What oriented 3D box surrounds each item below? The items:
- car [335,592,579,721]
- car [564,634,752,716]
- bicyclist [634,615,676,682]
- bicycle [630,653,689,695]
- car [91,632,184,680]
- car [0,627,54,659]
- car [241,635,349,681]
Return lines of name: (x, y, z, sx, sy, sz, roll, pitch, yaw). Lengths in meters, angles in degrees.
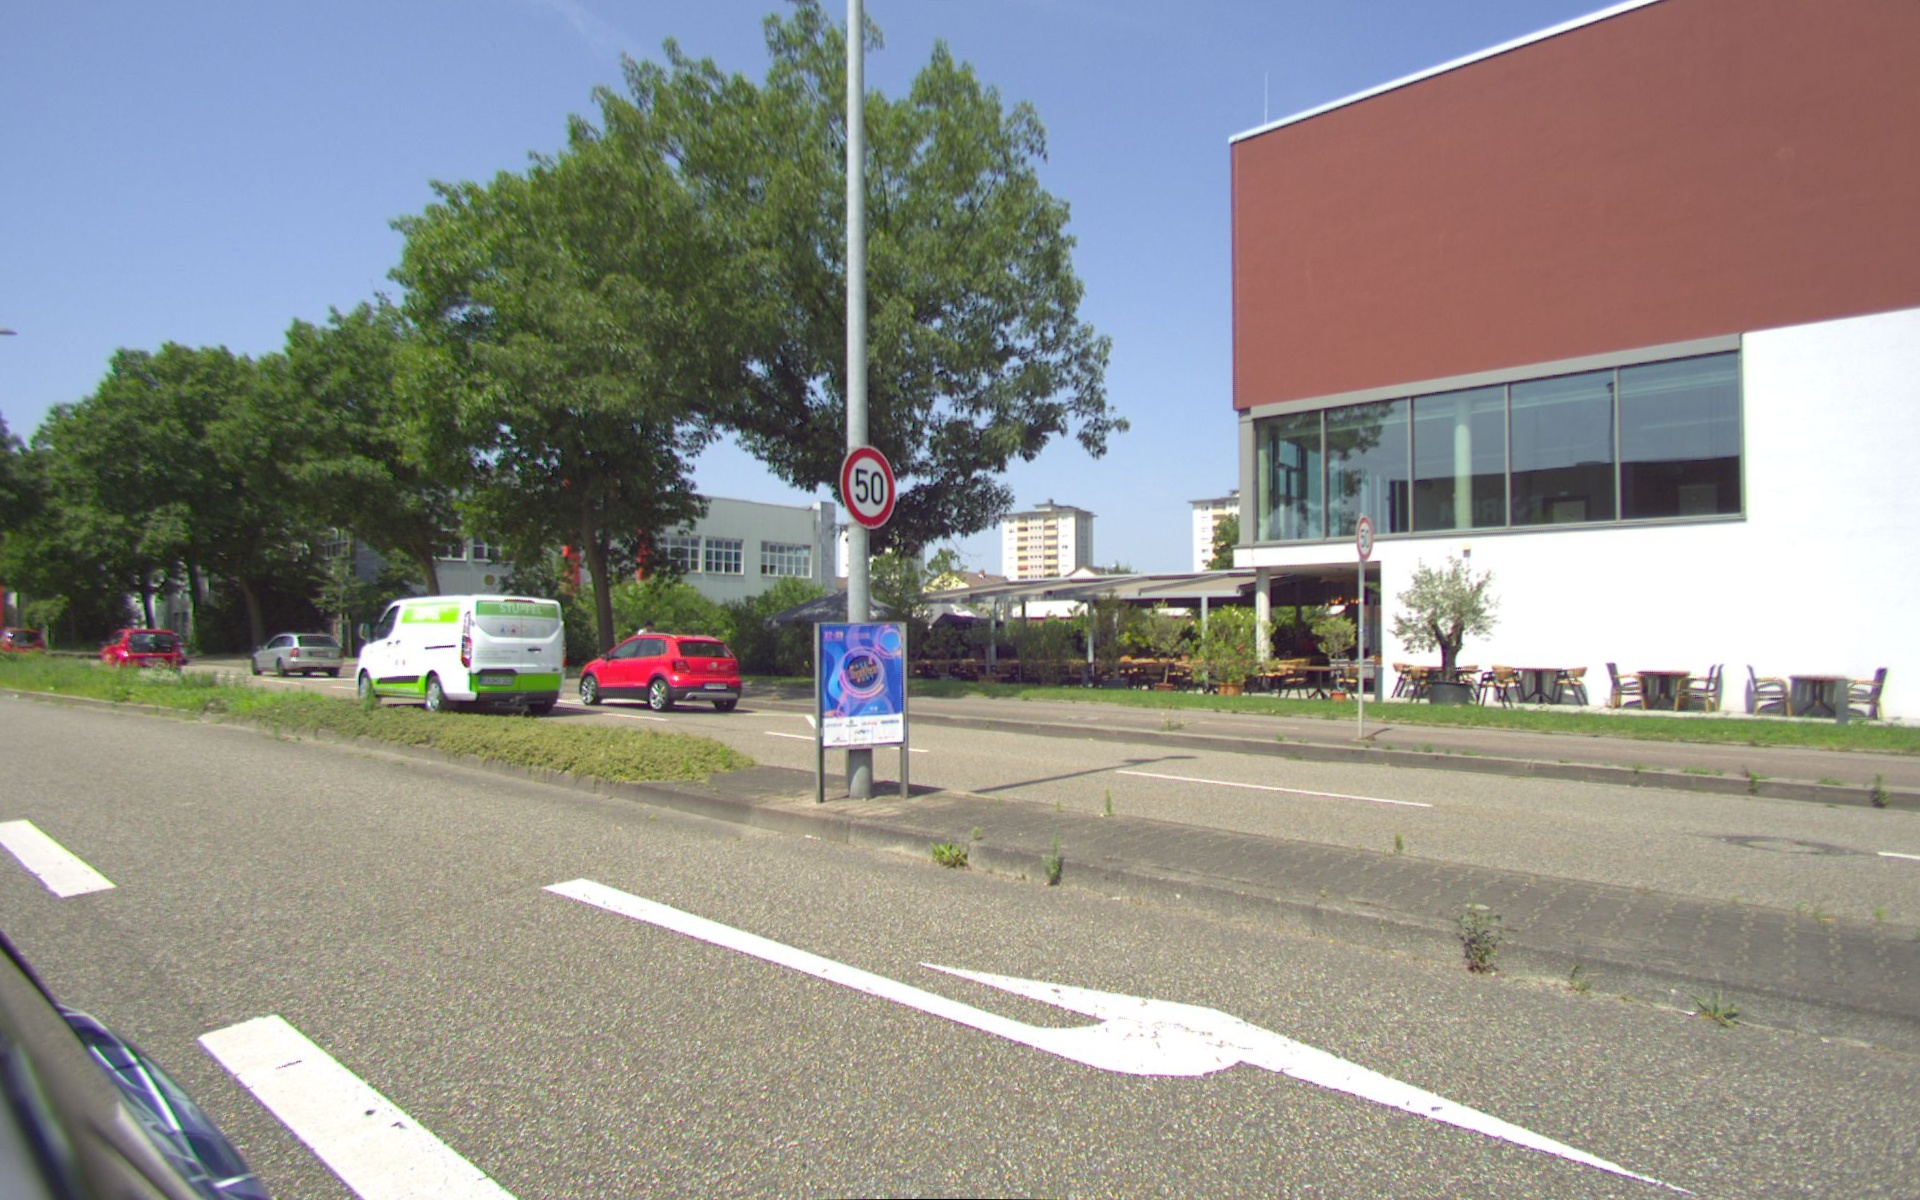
car: (-8.928, 0.969, 17.792, 4.904, 1.960, 1.973, -2, -4, 40)
car: (-5.994, 1.435, 19.887, 3.889, 1.464, 1.688, -2, -5, 41)
bicyclist: (-7.629, 1.212, 25.330, 0.923, 1.643, 0.601, -2, -3, 41)
bicycle: (-7.474, 1.822, 25.170, 1.659, 0.976, 0.611, -2, -3, 41)
car: (-26.443, 1.793, 32.504, 3.605, 1.452, 1.564, -2, -4, 39)
car: (-48.878, 2.258, 52.831, 4.150, 1.582, 1.731, -2, -5, 41)
car: (-22.200, 1.926, 33.741, 4.356, 1.415, 1.759, -2, -5, 40)
